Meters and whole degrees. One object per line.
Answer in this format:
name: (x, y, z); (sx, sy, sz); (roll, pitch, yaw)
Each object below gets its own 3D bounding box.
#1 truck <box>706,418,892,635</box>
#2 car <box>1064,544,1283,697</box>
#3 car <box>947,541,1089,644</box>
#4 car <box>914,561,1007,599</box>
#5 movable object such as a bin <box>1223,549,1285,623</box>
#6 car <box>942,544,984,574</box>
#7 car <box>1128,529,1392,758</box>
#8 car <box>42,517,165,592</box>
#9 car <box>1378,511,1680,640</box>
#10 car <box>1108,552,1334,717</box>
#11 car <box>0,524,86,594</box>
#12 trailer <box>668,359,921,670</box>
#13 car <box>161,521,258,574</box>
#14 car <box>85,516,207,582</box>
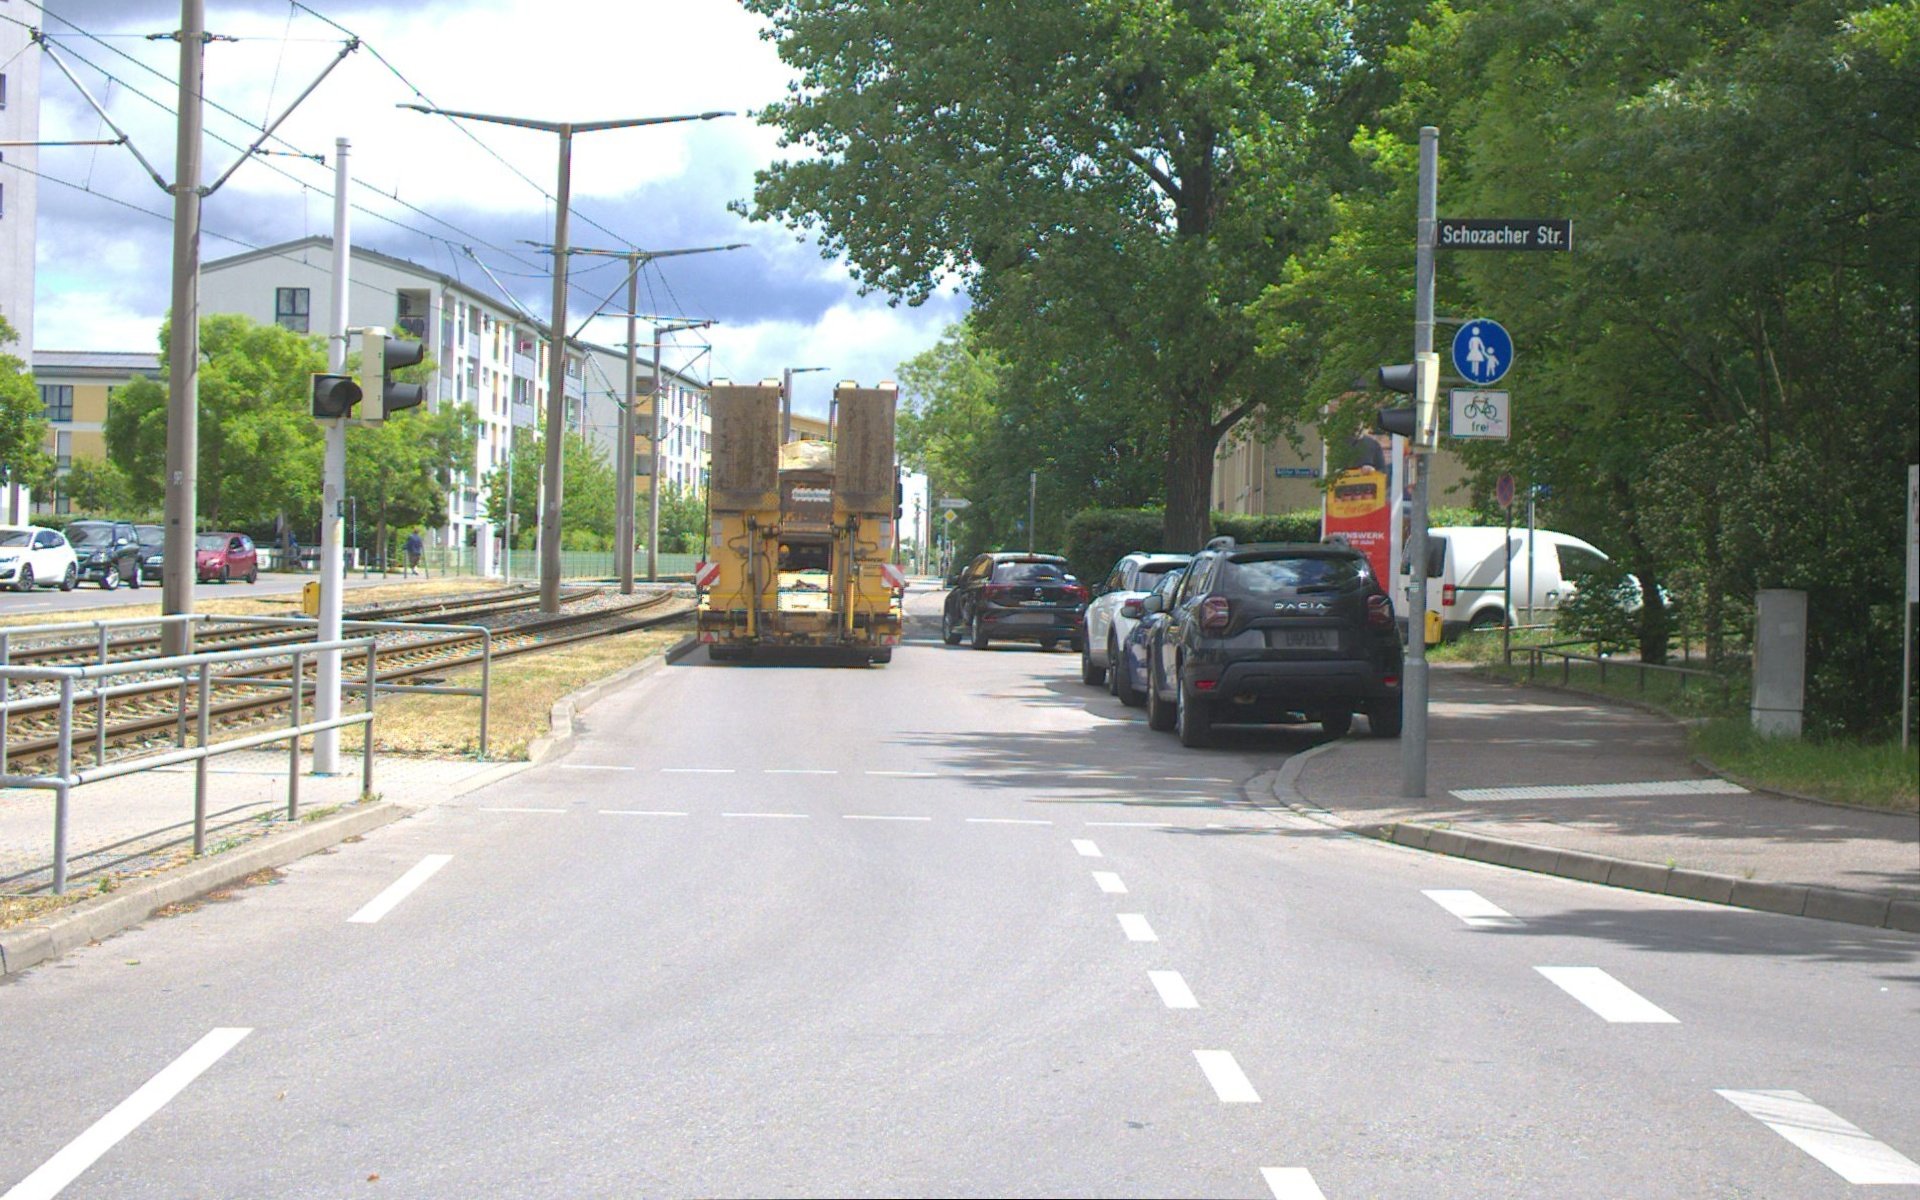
truck: (-2.620, -1.238, 56.993); (2.833, 3.319, 7.985); (0, 2, -2)
car: (2.327, 0.181, 38.567); (1.783, 1.560, 4.571); (0, 2, -5)
car: (0.829, -0.140, 51.580); (1.815, 1.444, 3.827); (0, 2, -4)
car: (0.044, -0.838, 146.920); (3.600, 1.579, 1.999); (1, 0, 13)
movable object such as a bin: (5.768, -0.281, 67.478); (1.098, 1.434, 0.761); (0, 1, -2)
car: (0.151, -1.992, 165.549); (1.993, 1.382, 4.000); (0, 2, 0)
car: (2.473, 0.298, 29.318); (1.643, 1.756, 4.570); (0, 2, -3)
car: (-20.444, -1.119, 82.165); (1.993, 1.657, 4.100); (2, 2, -2)
car: (8.308, -0.374, 50.212); (3.986, 1.816, 1.811); (0, 2, -23)
car: (2.503, 0.293, 33.823); (1.643, 1.453, 4.077); (0, 2, -4)
car: (-21.206, -0.941, 77.016); (1.754, 1.470, 4.399); (1, 2, 6)
trailer: (-2.214, -1.196, 47.541); (3.050, 3.759, 11.614); (0, 2, -2)
car: (-20.824, -1.473, 95.534); (1.614, 1.421, 3.422); (1, 2, 7)
car: (-20.965, -1.346, 88.713); (1.994, 1.642, 4.100); (0, 2, 3)
